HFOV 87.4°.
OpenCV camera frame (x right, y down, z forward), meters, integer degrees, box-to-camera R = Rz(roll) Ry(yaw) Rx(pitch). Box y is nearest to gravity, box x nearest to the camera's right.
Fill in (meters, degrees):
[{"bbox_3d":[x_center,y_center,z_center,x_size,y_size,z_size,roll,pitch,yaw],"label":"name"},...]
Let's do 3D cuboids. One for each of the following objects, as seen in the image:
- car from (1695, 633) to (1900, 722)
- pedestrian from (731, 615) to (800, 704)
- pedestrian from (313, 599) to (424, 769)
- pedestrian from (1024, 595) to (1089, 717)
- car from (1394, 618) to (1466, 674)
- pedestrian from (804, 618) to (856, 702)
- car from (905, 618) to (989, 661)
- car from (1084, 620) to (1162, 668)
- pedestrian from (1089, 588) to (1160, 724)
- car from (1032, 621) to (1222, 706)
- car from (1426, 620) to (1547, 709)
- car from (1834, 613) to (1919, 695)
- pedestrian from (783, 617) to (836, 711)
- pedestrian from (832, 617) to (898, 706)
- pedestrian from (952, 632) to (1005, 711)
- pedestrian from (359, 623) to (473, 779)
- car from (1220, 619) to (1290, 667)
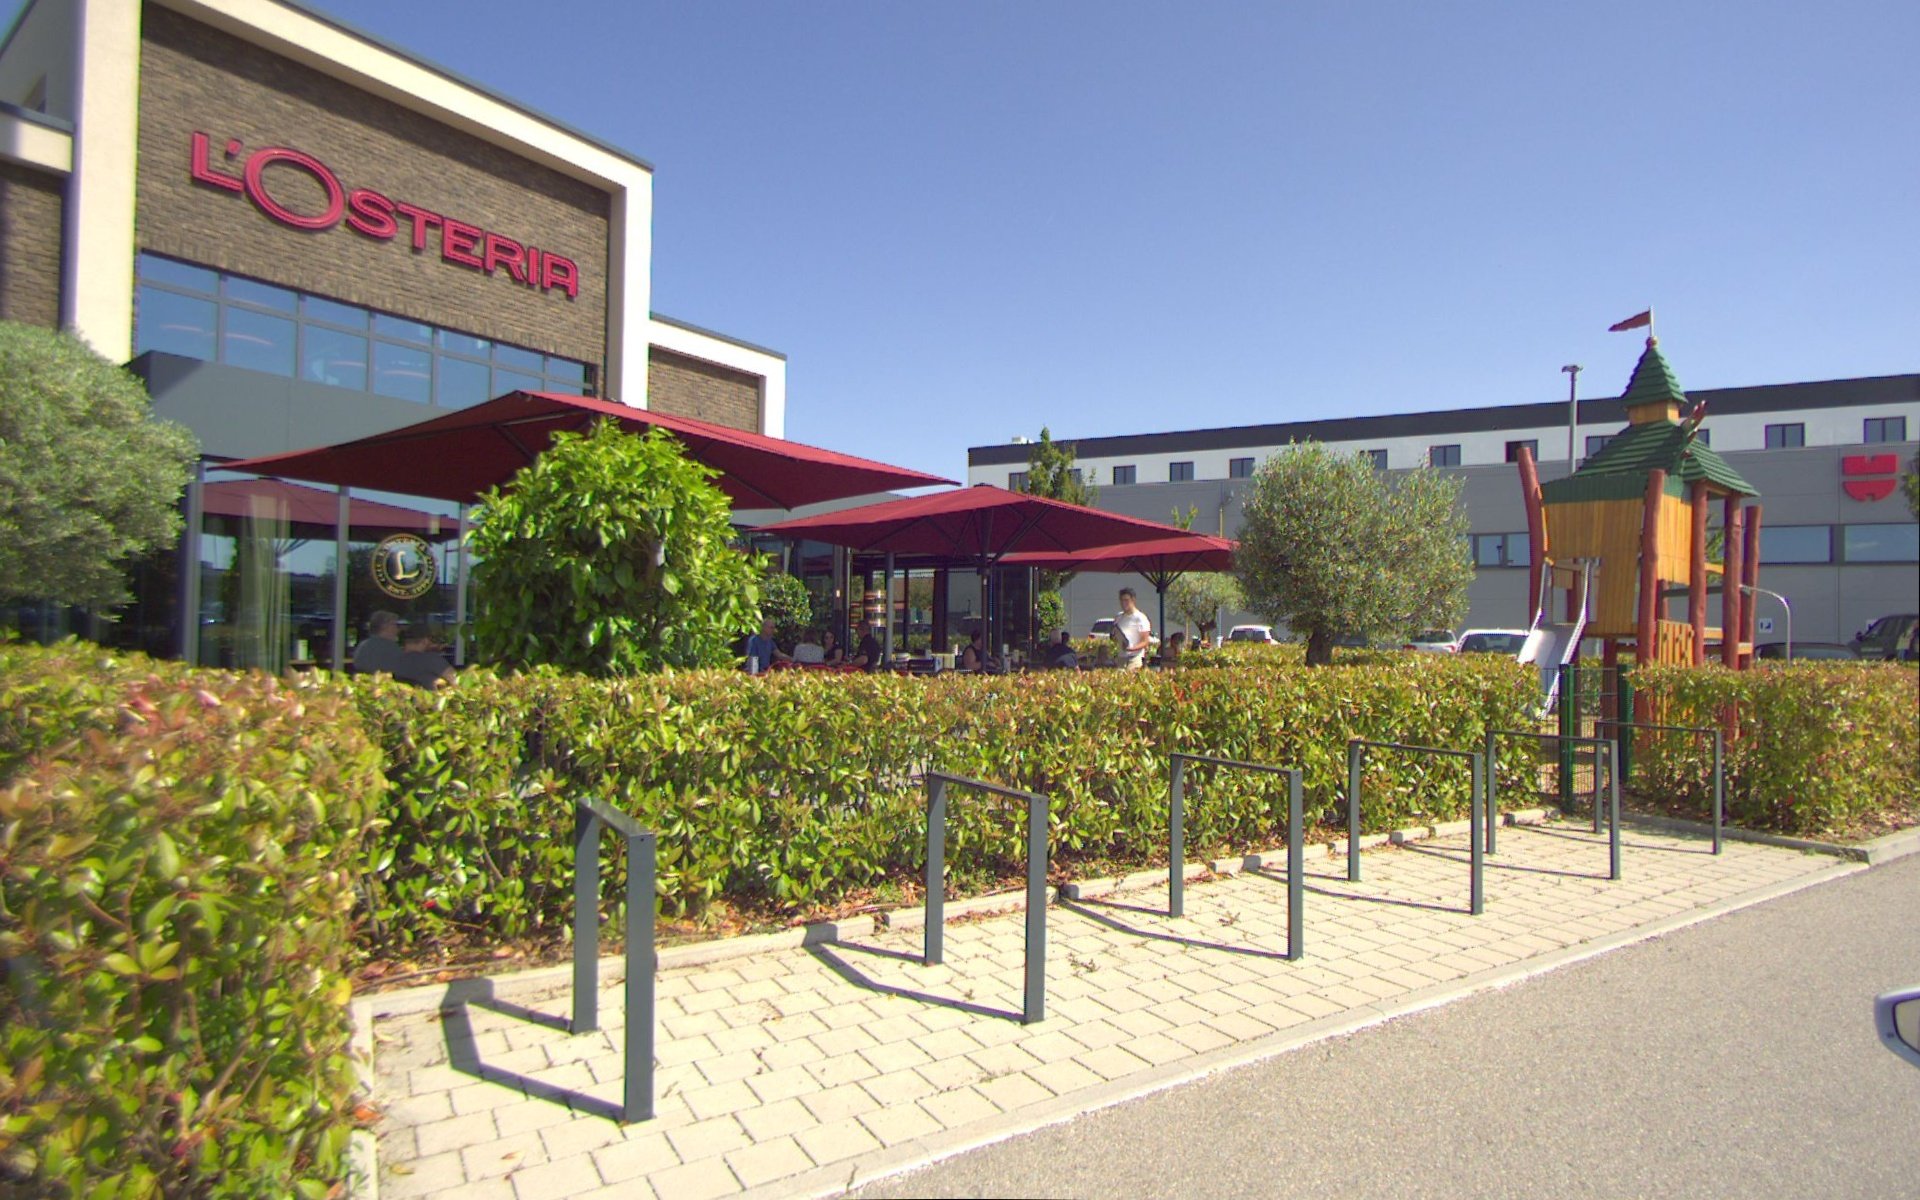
[{"bbox_3d":[15.182,1.324,18.500,1.833,1.380,4.373,0,-1,25],"label":"car"},{"bbox_3d":[-2.747,0.828,14.207,0.697,1.214,0.667,0,-1,30],"label":"pedestrian"},{"bbox_3d":[-5.012,0.692,8.531,0.637,1.385,0.482,0,-1,12],"label":"pedestrian"},{"bbox_3d":[1.342,0.758,13.900,0.770,1.636,0.763,0,-1,15],"label":"pedestrian"},{"bbox_3d":[14.701,1.373,31.448,1.917,1.607,4.373,0,-1,25],"label":"car"},{"bbox_3d":[-1.936,0.877,14.899,0.608,1.214,0.706,1,-1,-23],"label":"pedestrian"},{"bbox_3d":[-0.448,1.494,39.097,1.616,1.587,3.676,0,-1,30],"label":"car"},{"bbox_3d":[5.848,1.522,35.660,1.704,1.587,3.948,0,-1,25],"label":"car"},{"bbox_3d":[2.157,0.711,13.123,0.770,1.710,0.762,0,-1,22],"label":"pedestrian"},{"bbox_3d":[3.021,1.057,17.647,1.623,1.326,3.824,-1,-2,39],"label":"car"},{"bbox_3d":[10.455,1.170,19.814,1.919,1.551,4.368,0,-1,30],"label":"car"},{"bbox_3d":[23.992,1.294,25.109,2.039,1.905,4.874,0,-1,27],"label":"car"},{"bbox_3d":[-2.018,0.836,13.458,0.606,1.214,0.707,0,-1,-17],"label":"pedestrian"},{"bbox_3d":[-1.336,0.847,14.125,0.700,1.214,0.613,-1,-1,45],"label":"pedestrian"},{"bbox_3d":[0.265,1.017,14.525,0.540,1.104,0.572,1,-1,-37],"label":"pedestrian"},{"bbox_3d":[-4.361,0.786,8.070,0.637,1.201,0.482,0,-1,12],"label":"pedestrian"},{"bbox_3d":[9.988,1.407,33.842,1.704,1.507,3.948,0,-1,25],"label":"car"}]
